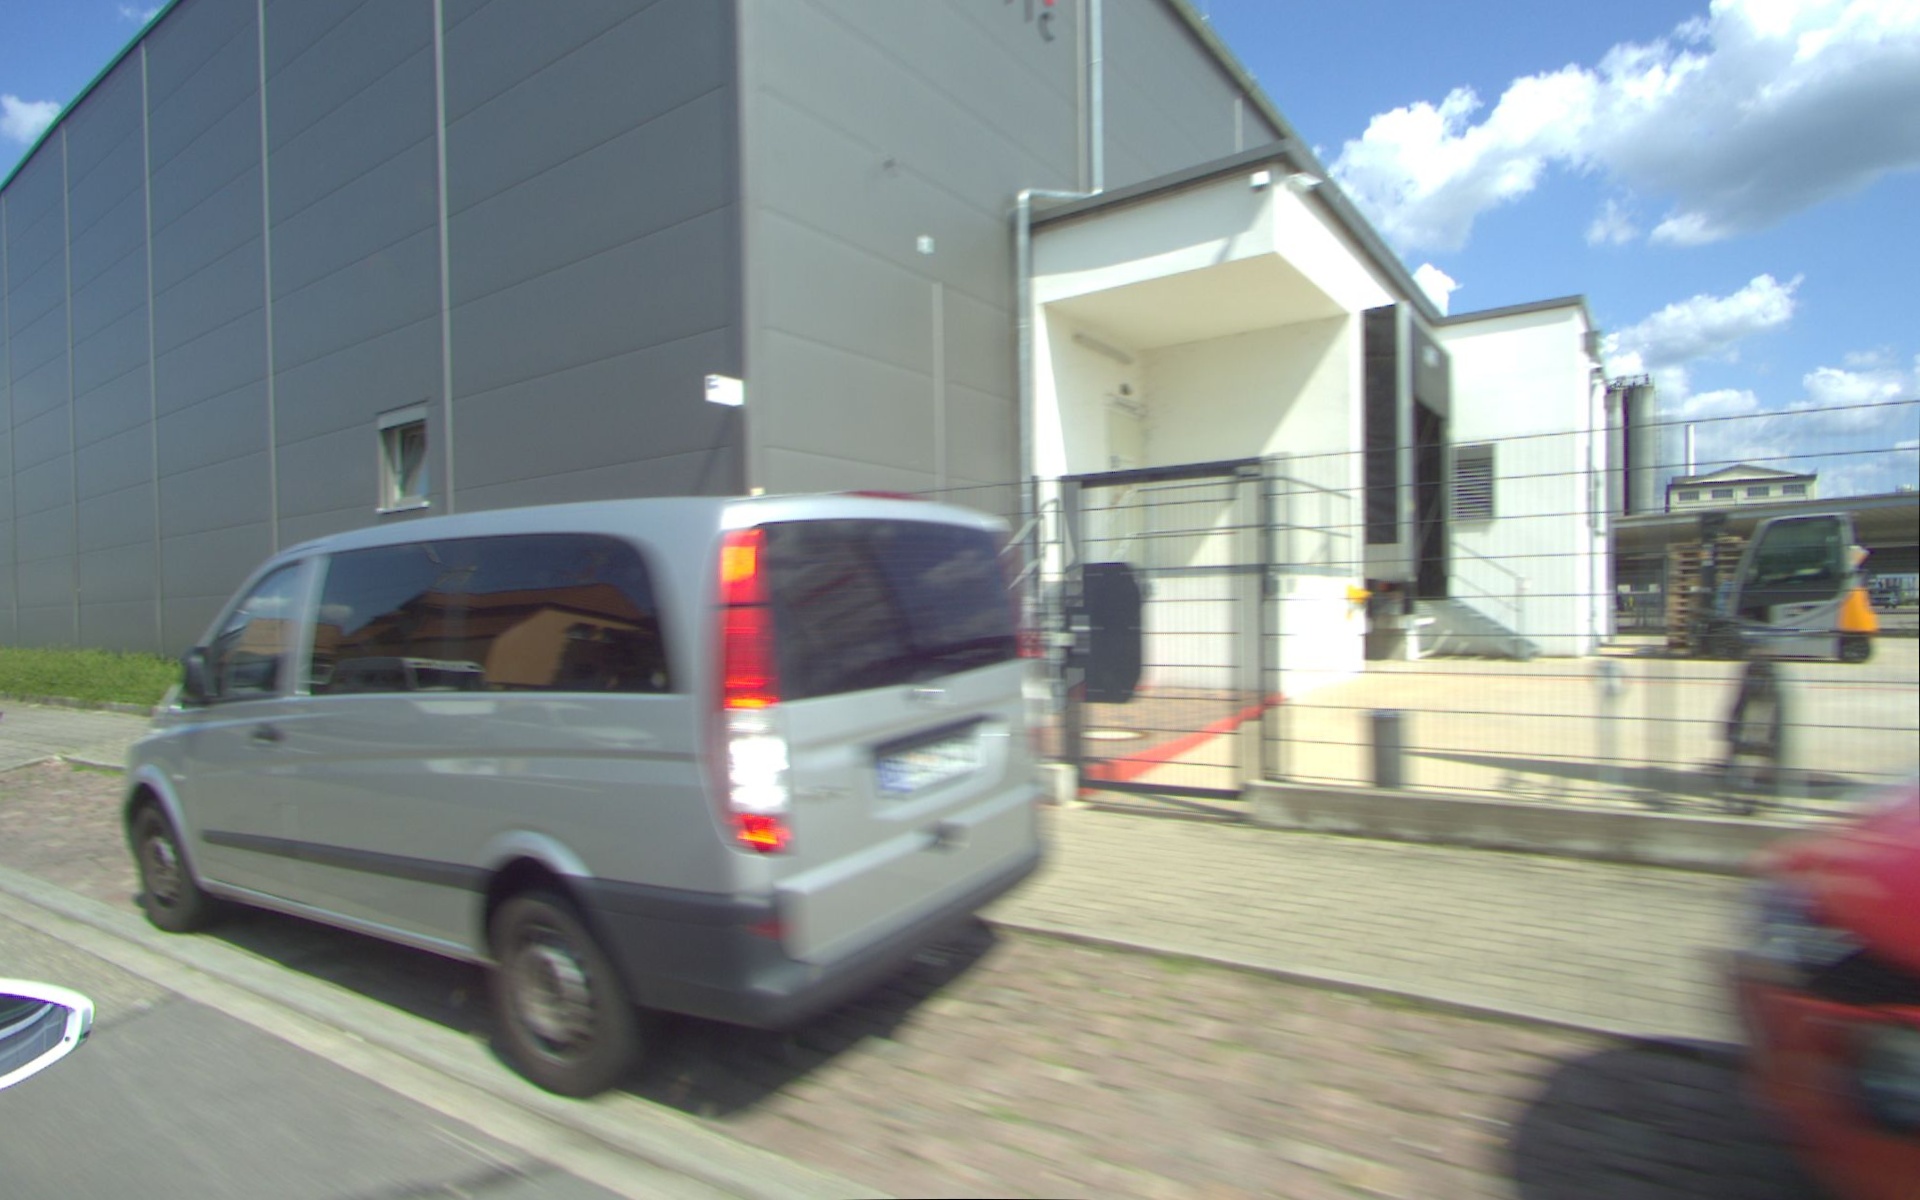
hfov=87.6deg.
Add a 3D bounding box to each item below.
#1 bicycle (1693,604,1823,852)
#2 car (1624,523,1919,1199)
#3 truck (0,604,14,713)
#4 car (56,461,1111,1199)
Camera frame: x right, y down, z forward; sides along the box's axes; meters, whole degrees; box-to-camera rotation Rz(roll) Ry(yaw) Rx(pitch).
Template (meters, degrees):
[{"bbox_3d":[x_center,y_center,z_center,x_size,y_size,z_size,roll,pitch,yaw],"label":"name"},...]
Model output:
[{"bbox_3d":[4.587,0.633,5.836,0.451,1.158,1.943,0,2,34],"label":"bicycle"},{"bbox_3d":[3.297,0.634,1.241,4.034,1.647,1.699,-1,3,32],"label":"car"},{"bbox_3d":[-16.477,0.014,14.367,6.722,3.340,2.450,-1,5,33],"label":"truck"},{"bbox_3d":[-2.058,0.590,4.767,5.075,1.930,2.047,-1,4,34],"label":"car"}]
